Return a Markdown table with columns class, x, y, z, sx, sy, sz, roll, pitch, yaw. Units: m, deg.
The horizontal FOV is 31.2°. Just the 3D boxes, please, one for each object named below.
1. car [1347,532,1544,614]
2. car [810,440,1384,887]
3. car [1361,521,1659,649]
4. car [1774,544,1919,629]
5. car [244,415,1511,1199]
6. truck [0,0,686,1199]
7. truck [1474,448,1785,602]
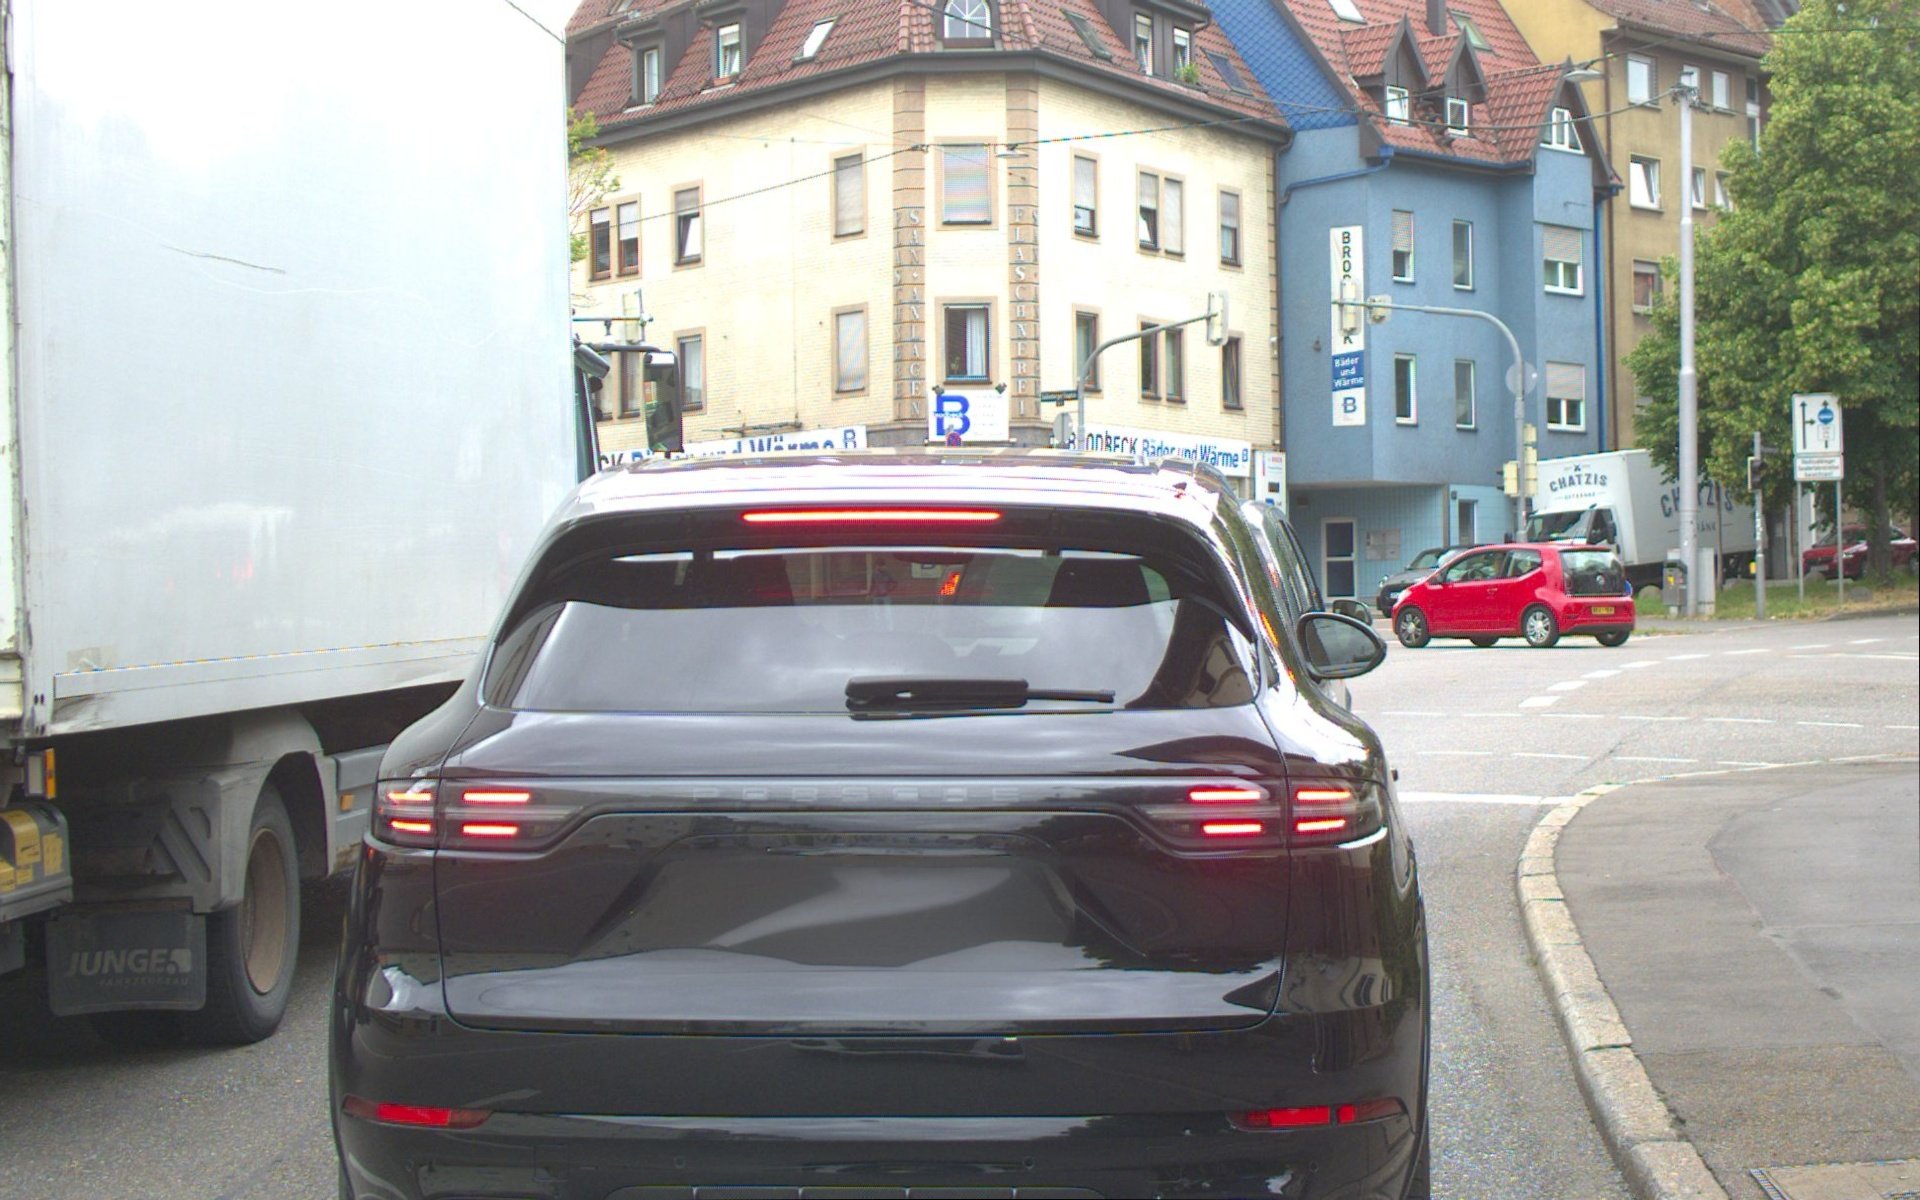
| class | x | y | z | sx | sy | sz | roll | pitch | yaw |
| --- | --- | --- | --- | --- | --- | --- | --- | --- | --- |
| car | 10.175 | -0.575 | 71.916 | 3.989 | 1.678 | 1.999 | -1 | 1 | -42 |
| car | 0.752 | 0.214 | 15.059 | 1.994 | 1.678 | 3.998 | 0 | 1 | 10 |
| car | 7.668 | -0.227 | 48.208 | 1.710 | 1.656 | 3.999 | 1 | 1 | -38 |
| car | 22.331 | -0.325 | 86.169 | 1.999 | 2.007 | 3.990 | 2 | 1 | 43 |
| car | -0.236 | 0.497 | 7.380 | 1.978 | 1.678 | 4.001 | 0 | 2 | -3 |
| truck | -3.019 | -0.577 | 11.426 | 2.769 | 3.562 | 8.063 | 0 | 1 | 6 |
| truck | 15.472 | -1.668 | 78.963 | 2.880 | 3.328 | 8.772 | 2 | 1 | 41 |
